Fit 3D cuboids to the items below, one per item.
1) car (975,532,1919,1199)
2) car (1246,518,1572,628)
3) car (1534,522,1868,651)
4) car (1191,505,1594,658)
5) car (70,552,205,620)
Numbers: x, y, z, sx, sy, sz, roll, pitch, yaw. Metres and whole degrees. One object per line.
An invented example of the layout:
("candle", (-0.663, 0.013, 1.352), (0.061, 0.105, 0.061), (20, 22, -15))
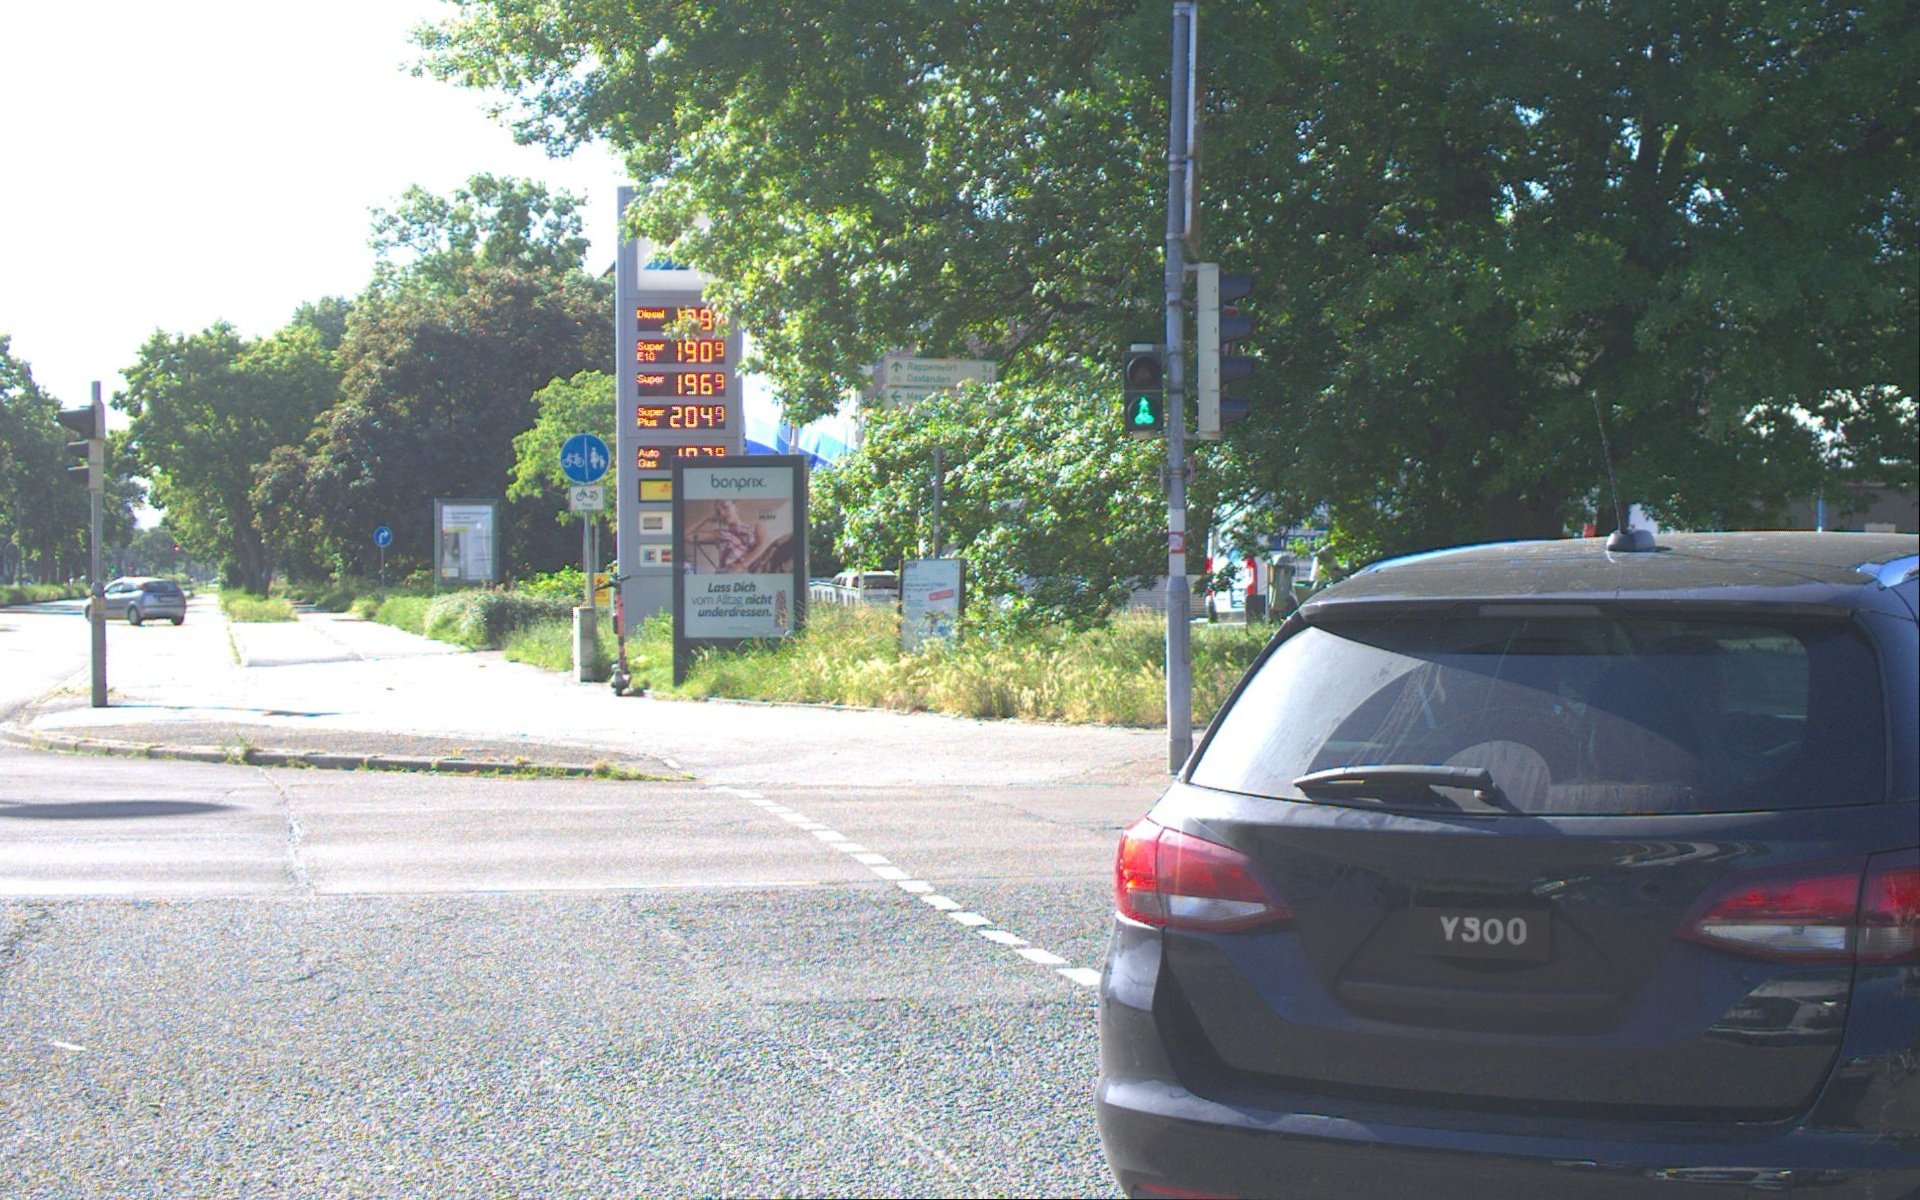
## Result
("car", (1.852, 0.607, 7.235), (1.764, 1.486, 4.284), (1, 2, 30))
("car", (6.074, -0.357, 46.521), (3.986, 1.330, 1.800), (2, 0, -23))
("car", (9.544, -0.165, 44.289), (3.986, 1.507, 1.532), (2, 0, -22))
("car", (6.516, -0.259, 51.929), (5.633, 2.092, 2.001), (2, 0, -13))
("car", (-25.812, -0.432, 107.863), (3.996, 2.007, 1.995), (2, 0, 38))
